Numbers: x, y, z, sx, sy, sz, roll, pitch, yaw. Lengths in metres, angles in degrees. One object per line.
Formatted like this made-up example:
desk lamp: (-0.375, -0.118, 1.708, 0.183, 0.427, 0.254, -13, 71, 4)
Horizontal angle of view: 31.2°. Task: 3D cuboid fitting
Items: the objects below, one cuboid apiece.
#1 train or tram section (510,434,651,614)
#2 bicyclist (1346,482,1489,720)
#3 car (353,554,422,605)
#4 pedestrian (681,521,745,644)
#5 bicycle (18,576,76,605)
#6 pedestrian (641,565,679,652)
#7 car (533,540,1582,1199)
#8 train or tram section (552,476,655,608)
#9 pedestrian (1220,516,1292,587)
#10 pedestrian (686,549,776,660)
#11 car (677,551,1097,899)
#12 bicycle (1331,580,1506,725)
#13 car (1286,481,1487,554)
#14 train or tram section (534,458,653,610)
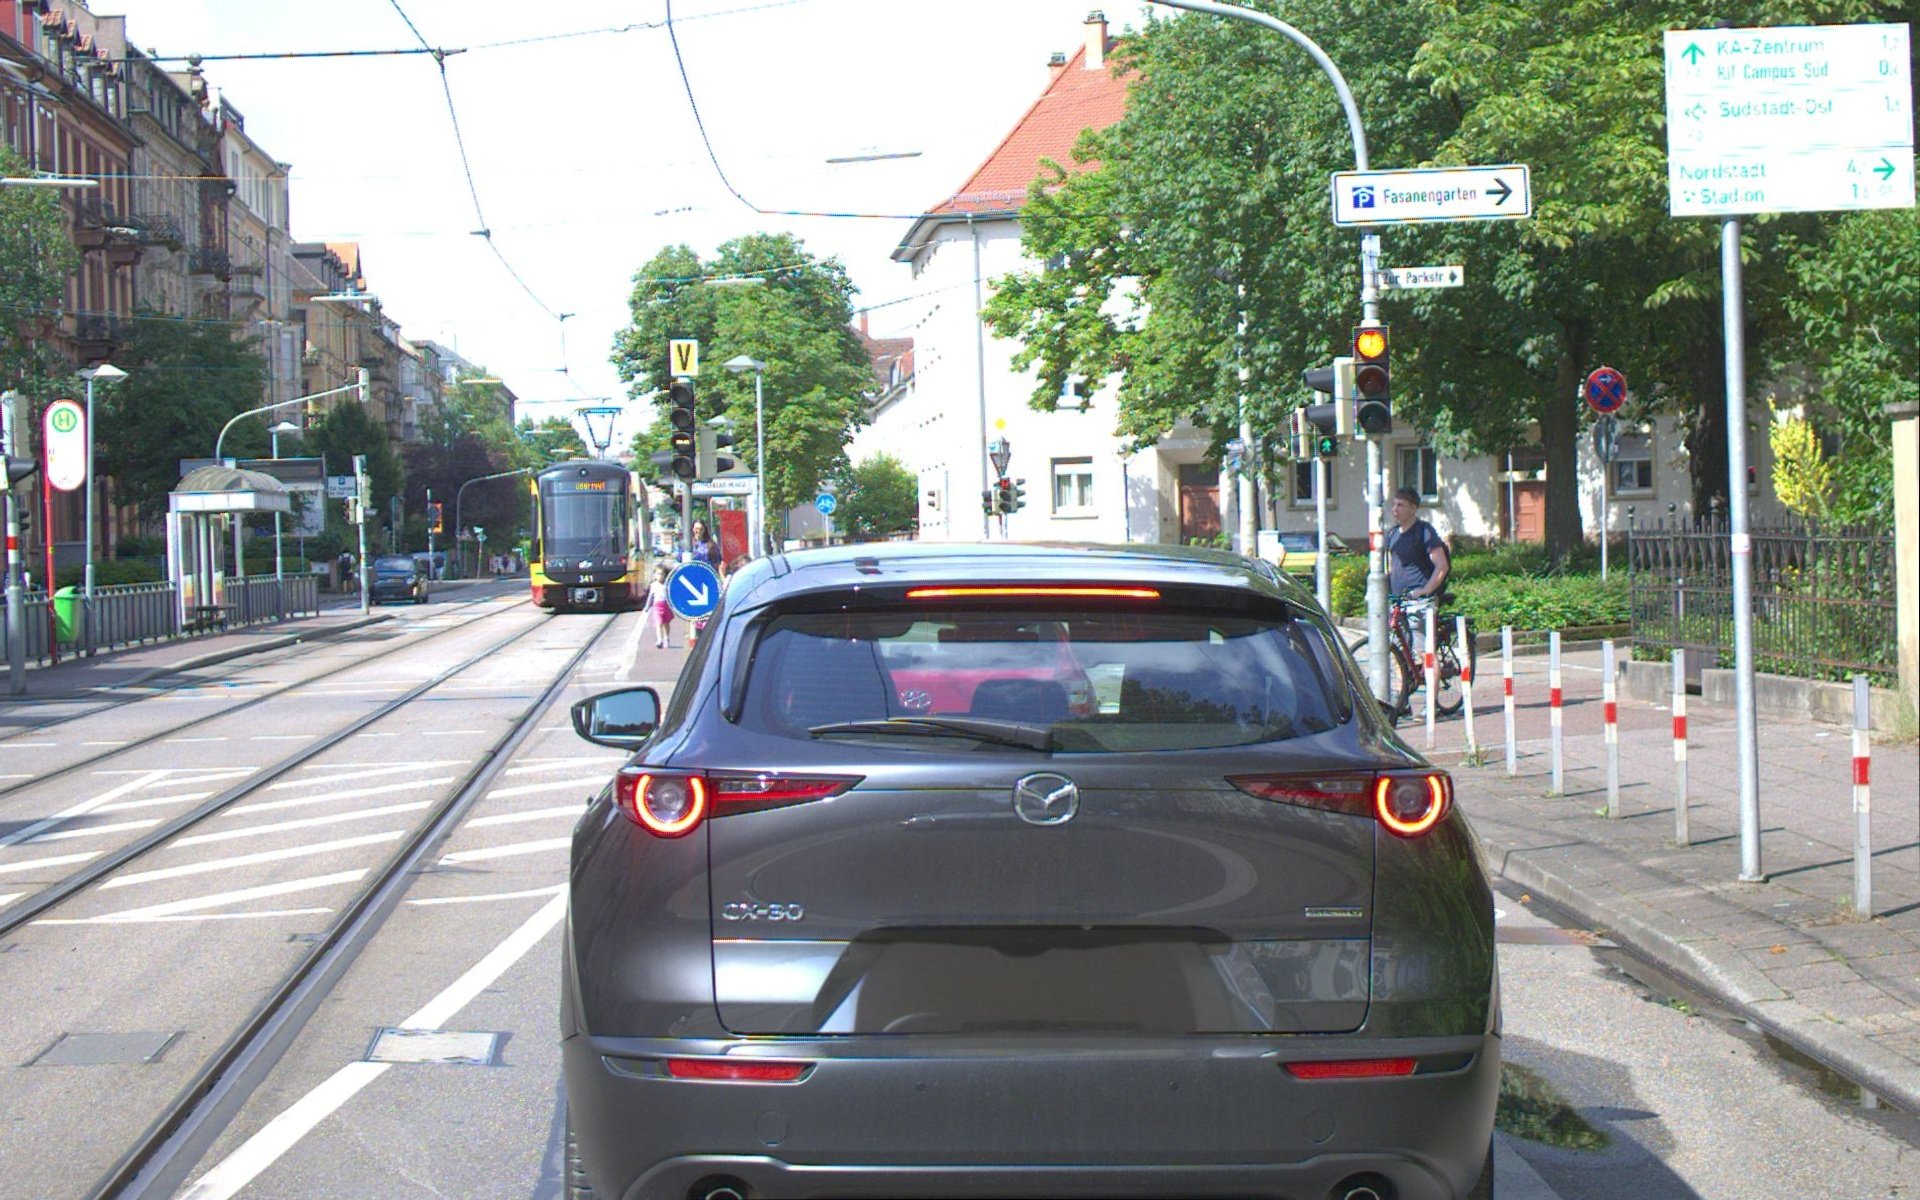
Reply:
train or tram section: (-9.160, -1.735, 84.336, 2.997, 3.970, 13.811, -2, 0, -5)
bicyclist: (3.573, -0.003, 26.873, 0.733, 1.813, 0.820, -2, 1, -27)
car: (-17.047, -0.627, 102.511, 1.624, 1.382, 3.436, -3, 1, -3)
pedestrian: (-3.215, -0.231, 44.690, 0.728, 1.560, 0.799, -2, 1, -9)
bicycle: (-24.582, -0.255, 92.595, 0.386, 0.745, 1.708, -1, 1, 32)
pedestrian: (-3.920, 0.113, 44.883, 0.422, 1.104, 0.439, -4, 1, -6)
car: (0.154, 0.640, 7.889, 1.782, 1.509, 4.000, 1, 1, 0)
train or tram section: (-11.496, -1.783, 111.846, 2.997, 3.970, 13.811, -2, 0, -5)
pedestrian: (5.672, -0.931, 65.888, 1.192, 1.264, 0.558, -4, 1, -9)
pedestrian: (-2.805, 0.057, 42.076, 0.825, 1.299, 0.717, -4, 1, -25)
car: (-0.396, 0.503, 16.497, 1.775, 1.459, 3.843, 0, 1, -3)
bicycle: (3.611, 0.395, 26.965, 0.389, 1.032, 1.841, -1, 2, 40)
car: (9.718, -1.873, 78.498, 4.167, 1.504, 1.848, 0, 3, 38)
train or tram section: (-10.331, -1.769, 98.110, 2.997, 3.970, 13.811, -2, 0, -5)
